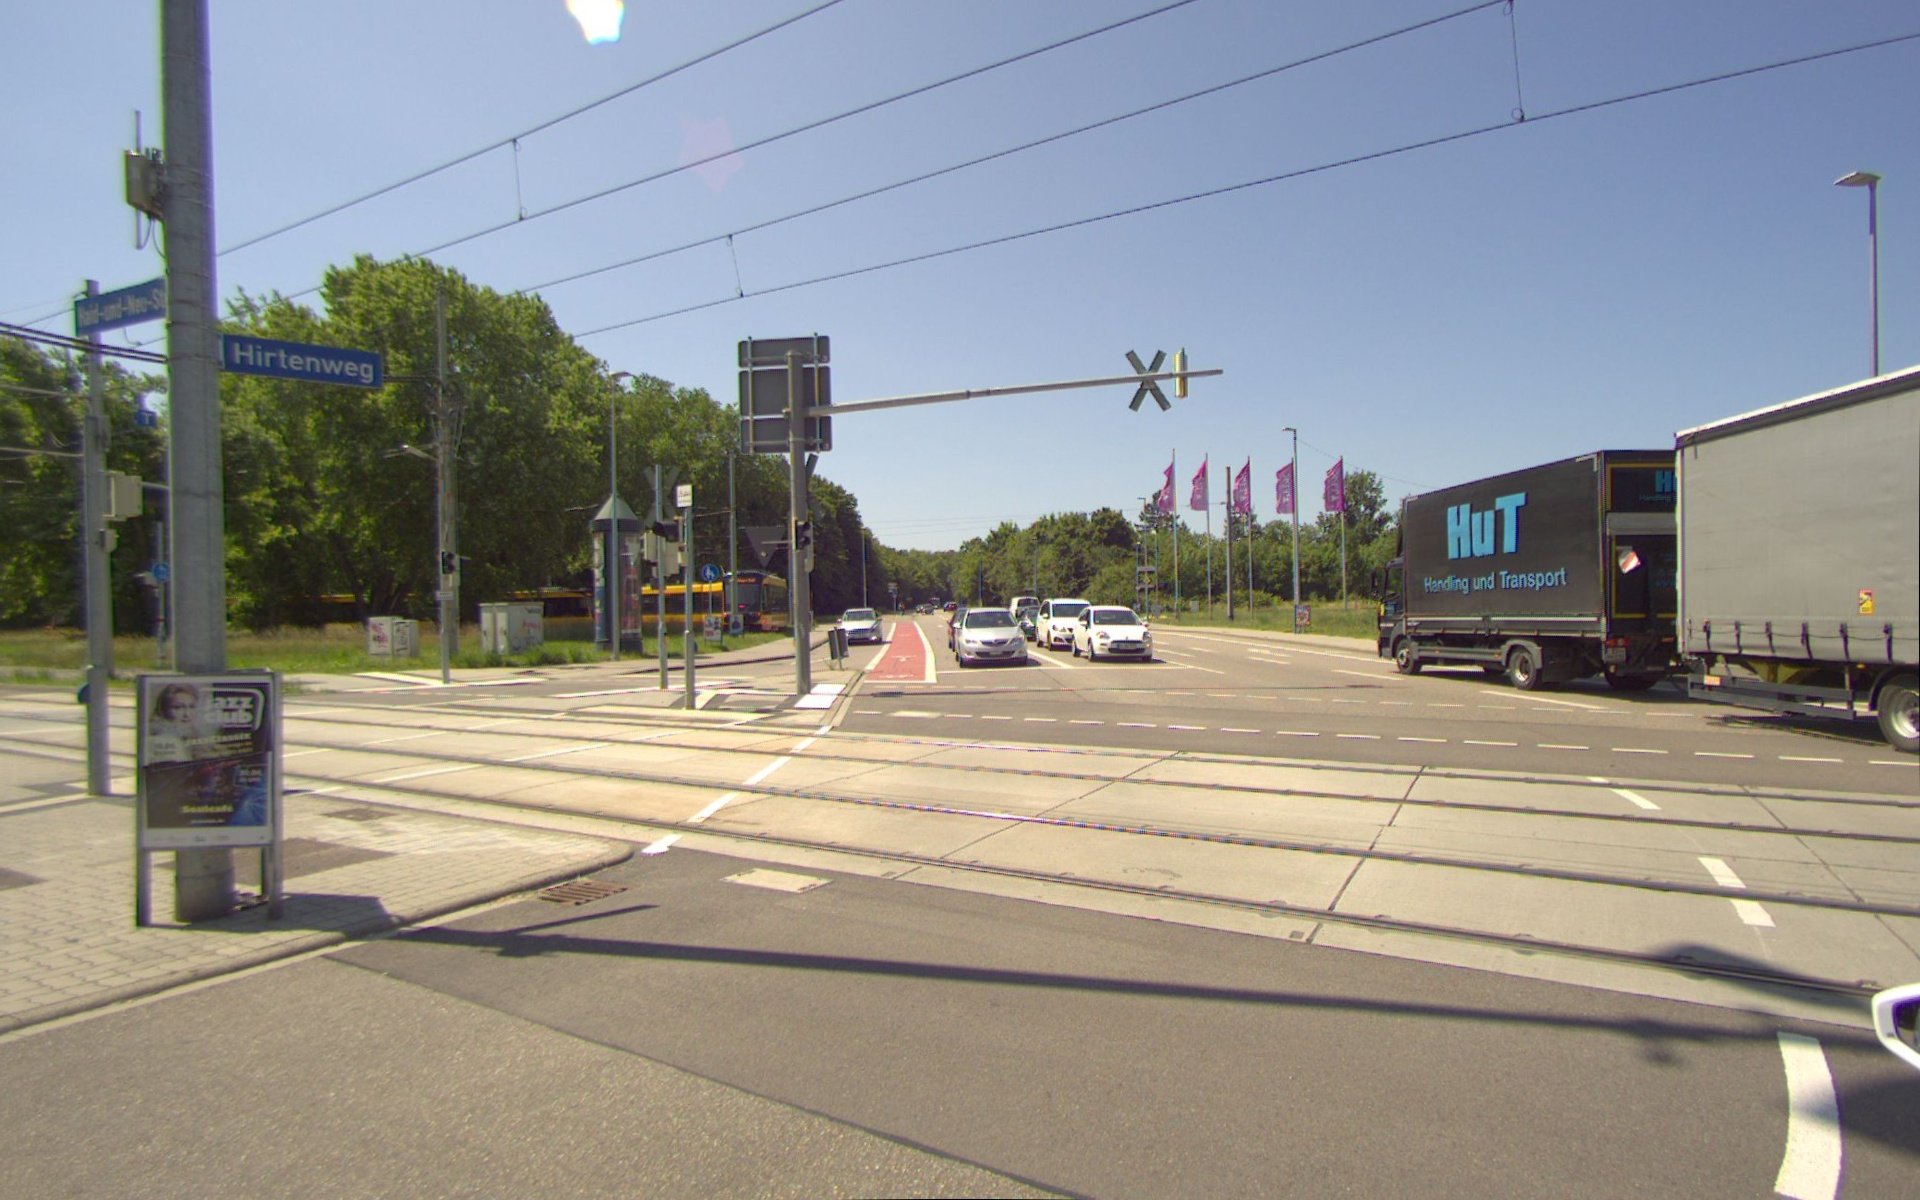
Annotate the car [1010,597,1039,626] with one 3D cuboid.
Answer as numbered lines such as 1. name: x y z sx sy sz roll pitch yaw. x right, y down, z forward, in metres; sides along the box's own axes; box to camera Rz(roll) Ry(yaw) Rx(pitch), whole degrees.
1. car: 4.482 0.778 70.132 1.628 1.932 3.999 -1 0 -1

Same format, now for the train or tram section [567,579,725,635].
1. train or tram section: -24.651 0.588 78.387 13.798 3.809 3.020 -2 1 29

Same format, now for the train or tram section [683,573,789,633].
1. train or tram section: -15.905 0.269 70.425 2.995 3.809 11.505 -3 1 -35

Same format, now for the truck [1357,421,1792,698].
1. truck: 10.831 -0.603 19.057 3.028 4.124 7.954 0 0 -4

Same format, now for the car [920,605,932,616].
1. car: -4.815 1.458 142.941 1.596 1.475 3.500 -3 0 -3

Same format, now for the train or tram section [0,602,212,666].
1. train or tram section: -60.184 2.289 71.049 11.314 3.809 3.000 -3 1 -33

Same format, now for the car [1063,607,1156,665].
1. car: 4.061 0.941 27.852 1.740 1.457 3.958 0 0 -4

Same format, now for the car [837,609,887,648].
1. car: -4.302 1.217 44.579 1.712 1.567 4.258 -2 0 1

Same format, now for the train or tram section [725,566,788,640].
1. train or tram section: -11.902 0.160 59.848 2.971 3.809 12.972 -3 0 -9

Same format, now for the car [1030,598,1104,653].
1. car: 3.594 0.815 34.539 1.782 1.746 4.829 -1 0 -3

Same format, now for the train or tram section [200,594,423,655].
1. train or tram section: -49.362 1.770 77.240 14.007 3.809 3.006 -3 1 -27

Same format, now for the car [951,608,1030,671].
1. car: 0.722 0.987 26.859 1.762 1.475 4.411 -2 0 -2

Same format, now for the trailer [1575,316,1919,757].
1. trailer: 10.629 -0.619 10.627 3.025 4.124 9.813 -1 0 6

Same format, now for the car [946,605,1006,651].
1. car: 0.493 0.930 35.405 1.732 1.476 4.283 -1 0 -4

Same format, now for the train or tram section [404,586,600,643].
1. train or tram section: -36.723 1.132 81.107 13.932 3.809 3.022 -3 1 -8
